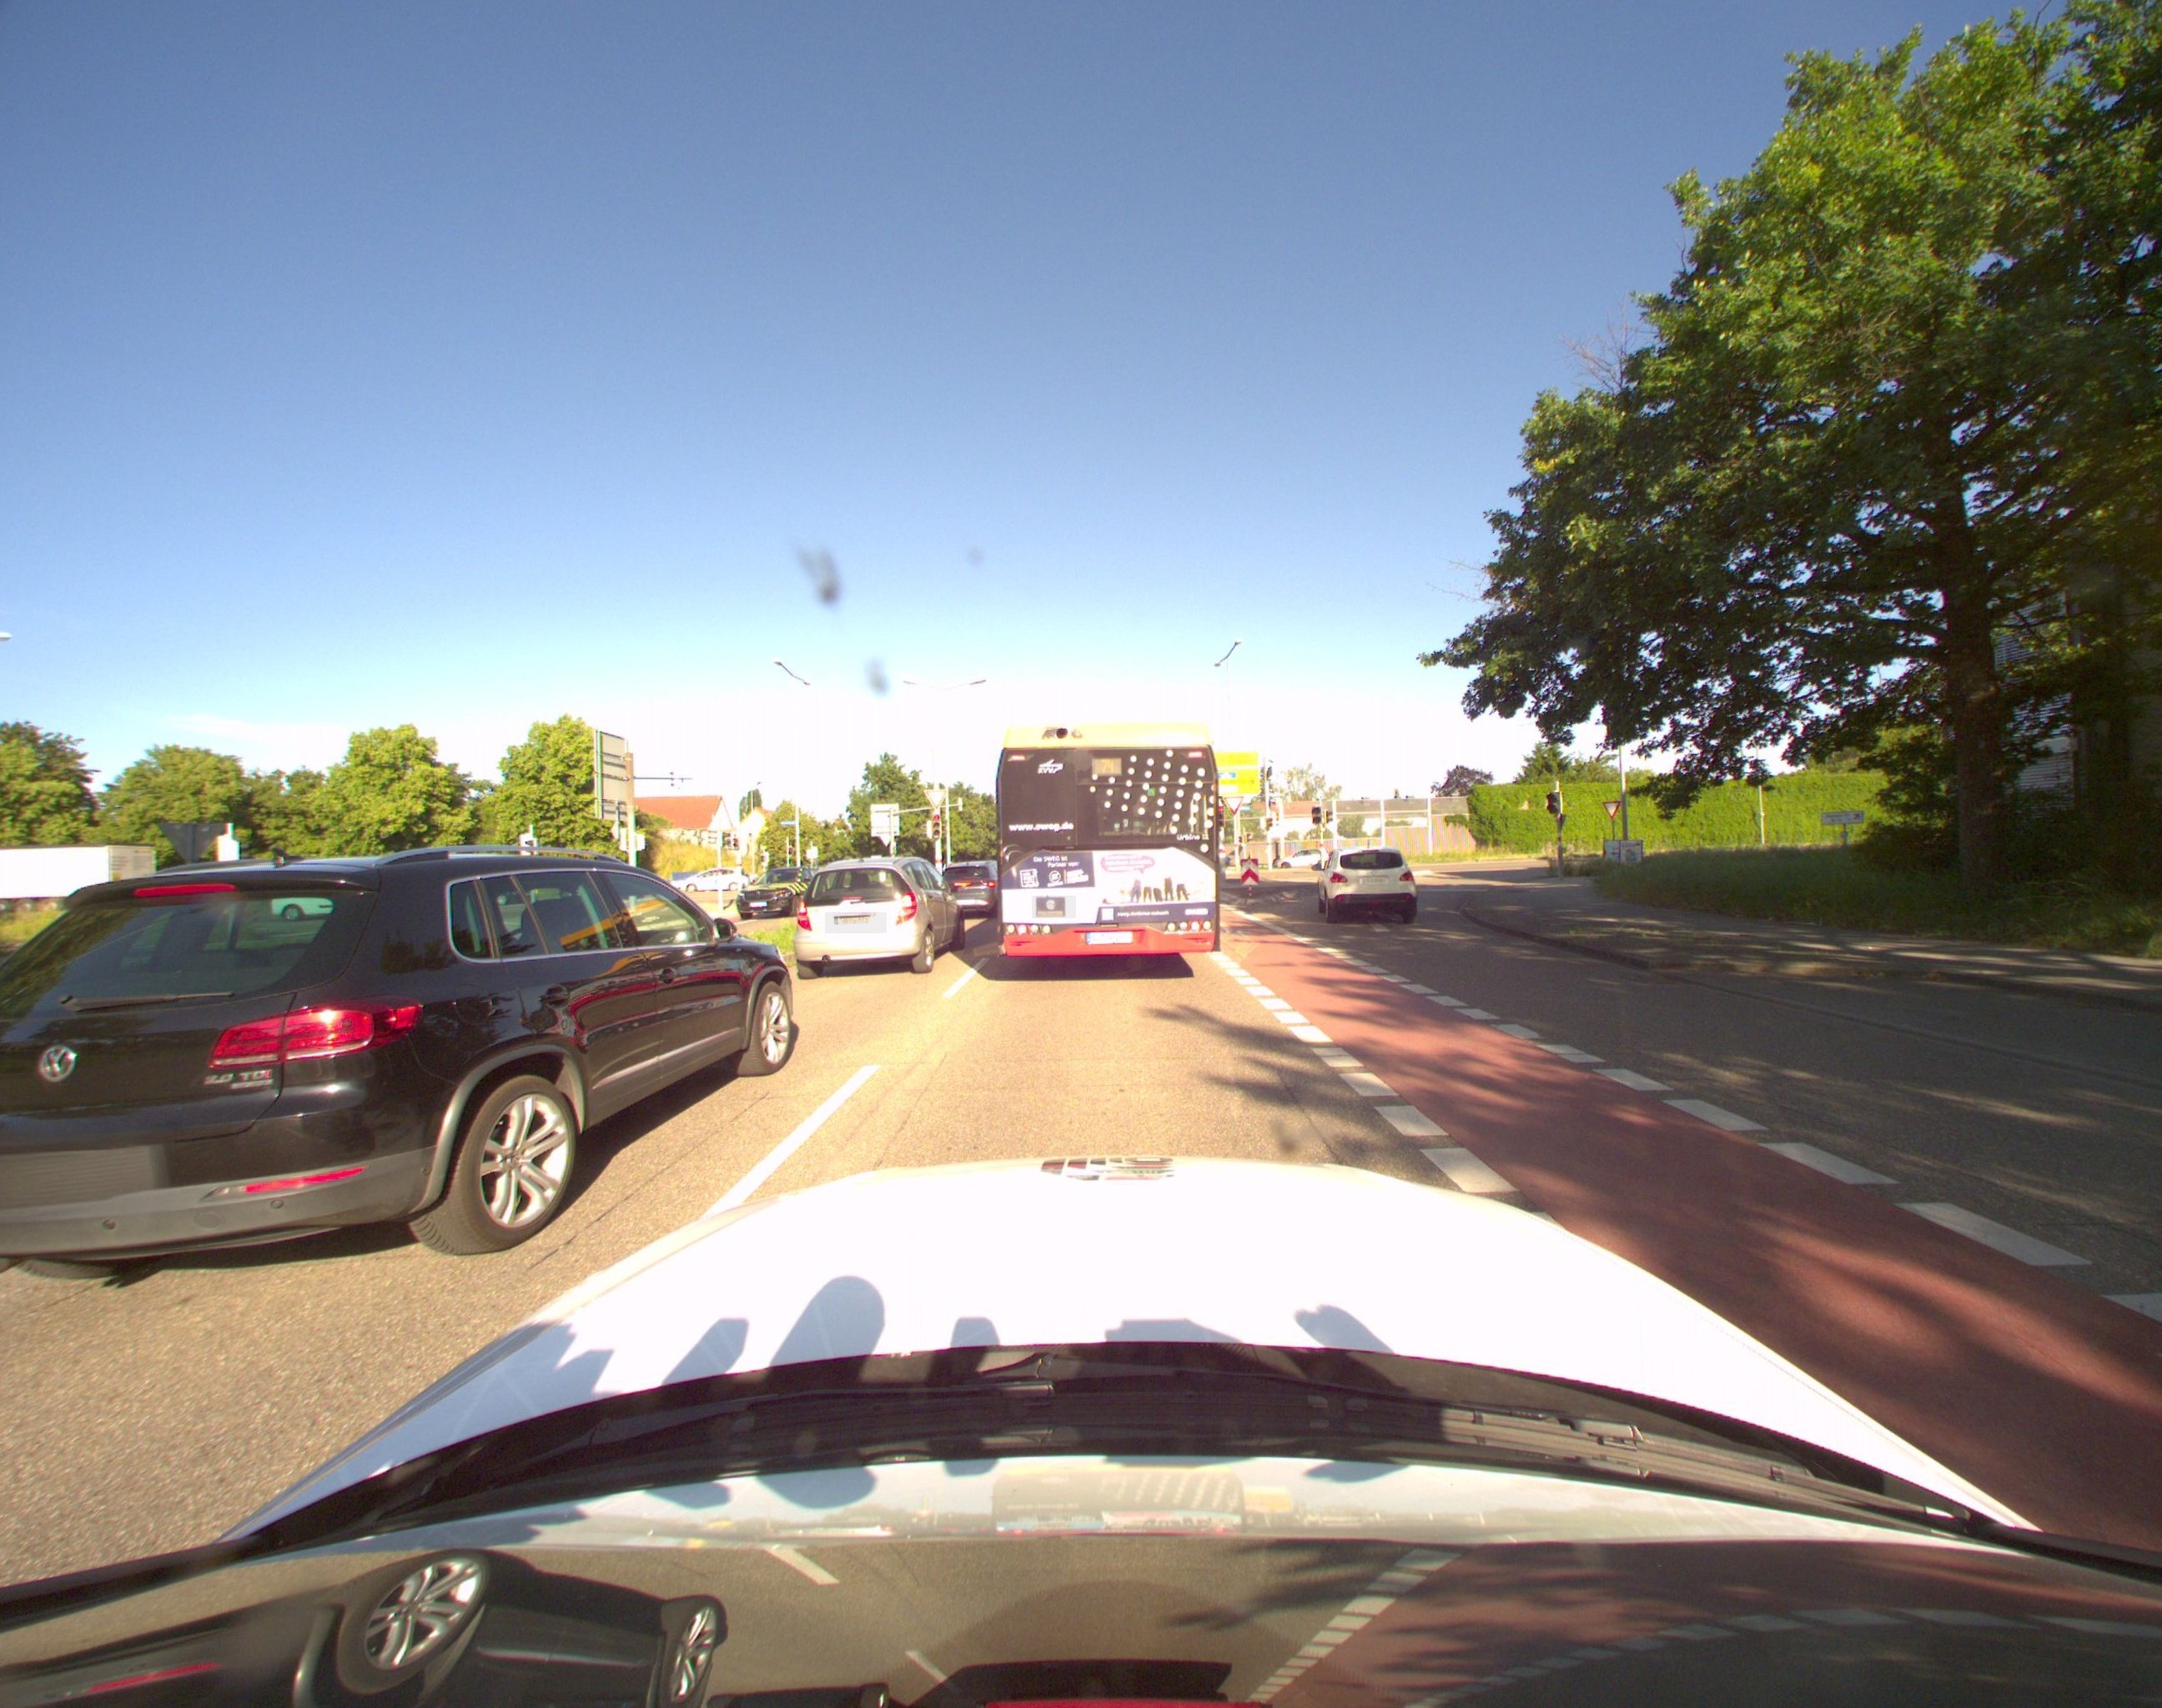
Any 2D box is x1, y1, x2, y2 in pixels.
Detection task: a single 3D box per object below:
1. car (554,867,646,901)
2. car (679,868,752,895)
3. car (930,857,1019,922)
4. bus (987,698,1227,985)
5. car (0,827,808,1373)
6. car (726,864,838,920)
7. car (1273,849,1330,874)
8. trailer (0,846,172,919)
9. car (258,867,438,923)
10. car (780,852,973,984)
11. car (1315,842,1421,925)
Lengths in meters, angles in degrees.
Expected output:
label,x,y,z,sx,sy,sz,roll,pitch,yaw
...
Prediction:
label,x,y,z,sx,sy,sz,roll,pitch,yaw
car,-24.571,1.529,41.683,3.577,1.560,1.747,-2,0,-5
car,-22.636,1.712,50.530,3.800,1.612,1.704,0,-1,-5
car,-2.687,0.853,21.325,1.686,1.458,3.751,-3,0,1
bus,0.525,-0.167,15.029,2.632,3.167,11.867,-1,0,2
car,-3.169,0.795,4.565,1.766,1.653,4.001,-3,0,1
car,-9.393,1.140,25.965,1.755,1.526,4.084,-3,0,4
car,16.168,0.556,59.747,3.957,1.816,1.931,-1,-1,16
trailer,-63.001,1.753,47.644,14.631,4.013,3.435,-2,0,-5
car,-30.635,1.680,34.194,5.375,2.118,2.178,-1,-1,-4
car,-2.873,0.821,12.391,1.755,1.589,4.001,-3,0,1
car,6.167,0.576,17.912,1.706,1.607,4.082,-1,0,12
